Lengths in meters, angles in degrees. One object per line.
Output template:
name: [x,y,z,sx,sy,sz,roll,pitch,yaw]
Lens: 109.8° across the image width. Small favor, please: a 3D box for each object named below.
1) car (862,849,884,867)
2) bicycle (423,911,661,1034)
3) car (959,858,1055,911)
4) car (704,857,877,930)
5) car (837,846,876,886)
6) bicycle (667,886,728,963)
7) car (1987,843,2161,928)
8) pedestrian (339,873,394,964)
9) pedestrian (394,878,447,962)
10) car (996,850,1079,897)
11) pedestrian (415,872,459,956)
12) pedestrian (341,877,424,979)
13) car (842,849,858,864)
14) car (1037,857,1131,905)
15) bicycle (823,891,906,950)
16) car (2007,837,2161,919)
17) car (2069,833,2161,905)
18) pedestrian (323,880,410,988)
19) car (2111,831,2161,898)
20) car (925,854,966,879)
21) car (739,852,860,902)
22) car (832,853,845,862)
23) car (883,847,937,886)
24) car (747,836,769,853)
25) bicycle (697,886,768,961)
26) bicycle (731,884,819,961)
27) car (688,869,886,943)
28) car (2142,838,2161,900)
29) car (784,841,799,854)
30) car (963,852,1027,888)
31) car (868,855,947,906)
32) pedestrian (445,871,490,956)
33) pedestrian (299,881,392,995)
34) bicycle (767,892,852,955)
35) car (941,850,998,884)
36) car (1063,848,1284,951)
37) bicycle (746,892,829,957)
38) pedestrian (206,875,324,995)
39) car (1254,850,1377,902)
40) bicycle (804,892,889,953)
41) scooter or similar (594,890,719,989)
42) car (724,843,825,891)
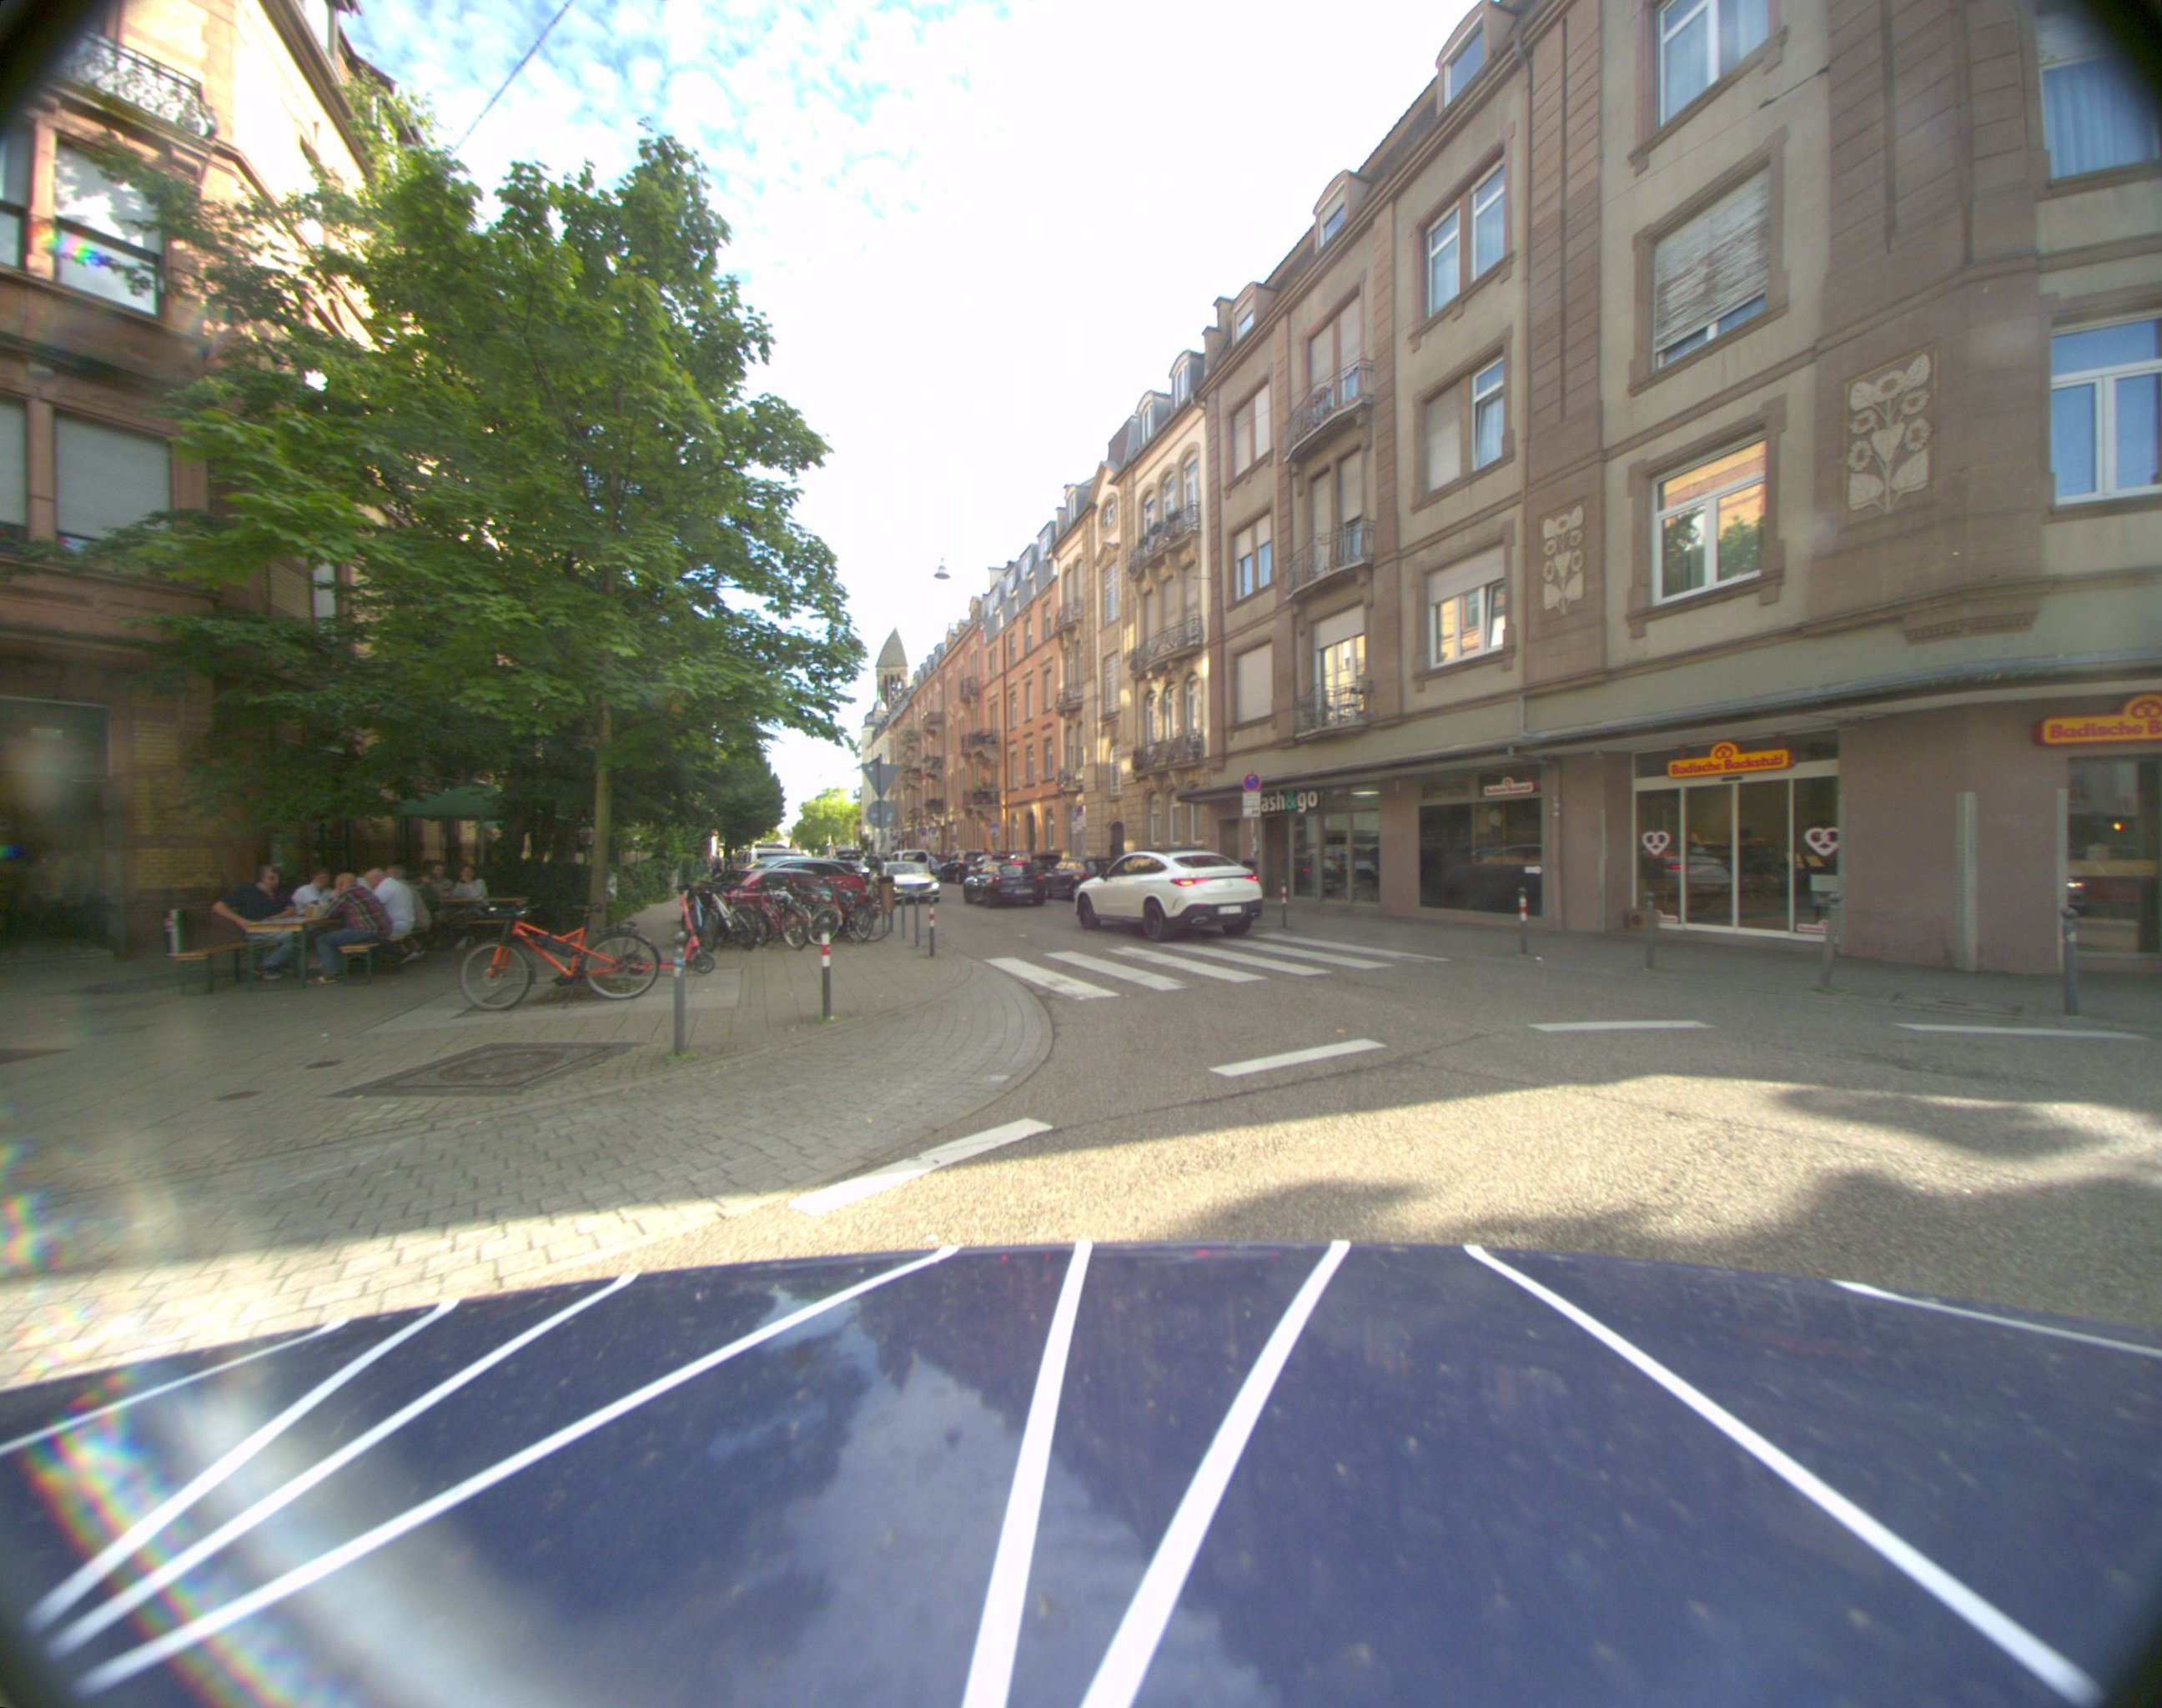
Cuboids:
car: [-20.958,0.408,76.524,1.687,1.775,4.012,-1,1,-21]
bicycle: [-5.386,1.152,7.742,1.859,1.029,0.682,-1,1,-23]
car: [-2.473,0.902,24.240,1.772,1.374,4.442,-4,2,-22]
car: [-6.979,0.911,18.483,3.596,1.605,1.509,2,-1,-45]
car: [-12.302,0.613,41.501,1.795,2.051,3.993,-1,1,-19]
bicycle: [-6.169,1.093,12.181,0.435,1.094,1.670,1,0,-42]
car: [19.539,0.548,13.643,1.769,1.422,3.990,-3,1,-31]
pedestrian: [-10.750,0.948,11.432,0.620,1.293,0.549,1,2,44]
pedestrian: [-10.190,0.996,11.720,0.620,1.225,0.549,1,2,44]
car: [-1.775,0.675,29.371,1.864,1.576,4.390,-3,2,-21]
pedestrian: [-10.637,0.970,12.544,0.620,1.320,0.468,1,2,44]
pedestrian: [-9.497,0.978,10.357,0.730,1.307,0.606,0,0,-34]
car: [-30.466,0.257,100.125,1.730,1.922,4.004,-1,1,-21]
car: [0.015,0.820,24.816,1.726,1.360,3.822,-3,1,-21]
bicycle: [-4.136,1.238,14.417,1.859,0.979,0.473,1,0,37]
car: [21.628,0.448,15.030,1.769,1.543,3.990,-3,1,-31]
car: [24.830,0.306,16.465,1.769,1.543,3.990,-3,1,-31]
pedestrian: [-9.205,1.001,9.814,0.730,1.307,0.519,0,0,-34]
car: [26.881,0.216,17.260,1.769,1.543,3.990,-3,1,-31]
car: [-7.950,0.710,44.439,1.628,1.371,3.754,-2,1,-21]
car: [-9.710,0.778,26.356,3.596,1.602,1.509,2,-1,-45]
car: [-38.204,0.551,119.634,1.628,1.371,3.754,-1,1,-21]
car: [-9.233,0.639,40.797,1.947,1.869,4.827,-3,1,-23]
car: [-35.282,-1.075,82.966,1.853,1.724,3.991,-3,1,-27]
bicycle: [-5.800,1.111,12.593,1.670,1.094,0.476,1,0,44]
bicycle: [-5.136,1.107,12.696,1.833,1.136,0.476,1,0,37]
car: [-6.116,1.016,16.068,1.509,1.372,3.596,1,-1,43]
car: [29.146,0.357,18.340,1.769,1.543,3.990,-3,1,-31]
car: [-44.783,-1.007,117.419,2.002,1.877,3.993,-3,1,-20]
car: [-4.020,0.696,35.013,1.765,1.488,4.125,-3,1,-23]
car: [-6.421,0.883,27.696,1.947,1.588,4.827,-3,1,-23]
pedestrian: [-10.042,0.948,12.433,0.620,1.320,0.468,1,2,44]
pedestrian: [-9.000,1.000,9.328,0.730,1.307,0.519,0,0,-34]
bicycle: [-4.874,1.215,13.584,1.859,0.979,0.473,1,0,37]
car: [-5.911,0.643,39.901,1.765,1.589,4.332,-3,1,-25]
car: [1.551,0.767,14.836,2.002,1.624,4.834,-1,0,-25]
bicycle: [-5.112,1.190,13.185,1.833,0.979,0.419,1,0,37]
pedestrian: [-9.989,0.965,9.320,0.716,1.371,0.670,0,2,13]
car: [8.466,0.734,27.365,4.006,1.612,1.995,-3,1,-30]
bicycle: [-4.331,1.225,13.980,1.859,0.979,0.473,1,0,37]
scooter or similar: [-5.377,1.068,9.670,1.291,1.203,0.556,-1,-1,4]
car: [-16.940,0.659,42.246,1.994,2.409,4.748,-1,1,36]
